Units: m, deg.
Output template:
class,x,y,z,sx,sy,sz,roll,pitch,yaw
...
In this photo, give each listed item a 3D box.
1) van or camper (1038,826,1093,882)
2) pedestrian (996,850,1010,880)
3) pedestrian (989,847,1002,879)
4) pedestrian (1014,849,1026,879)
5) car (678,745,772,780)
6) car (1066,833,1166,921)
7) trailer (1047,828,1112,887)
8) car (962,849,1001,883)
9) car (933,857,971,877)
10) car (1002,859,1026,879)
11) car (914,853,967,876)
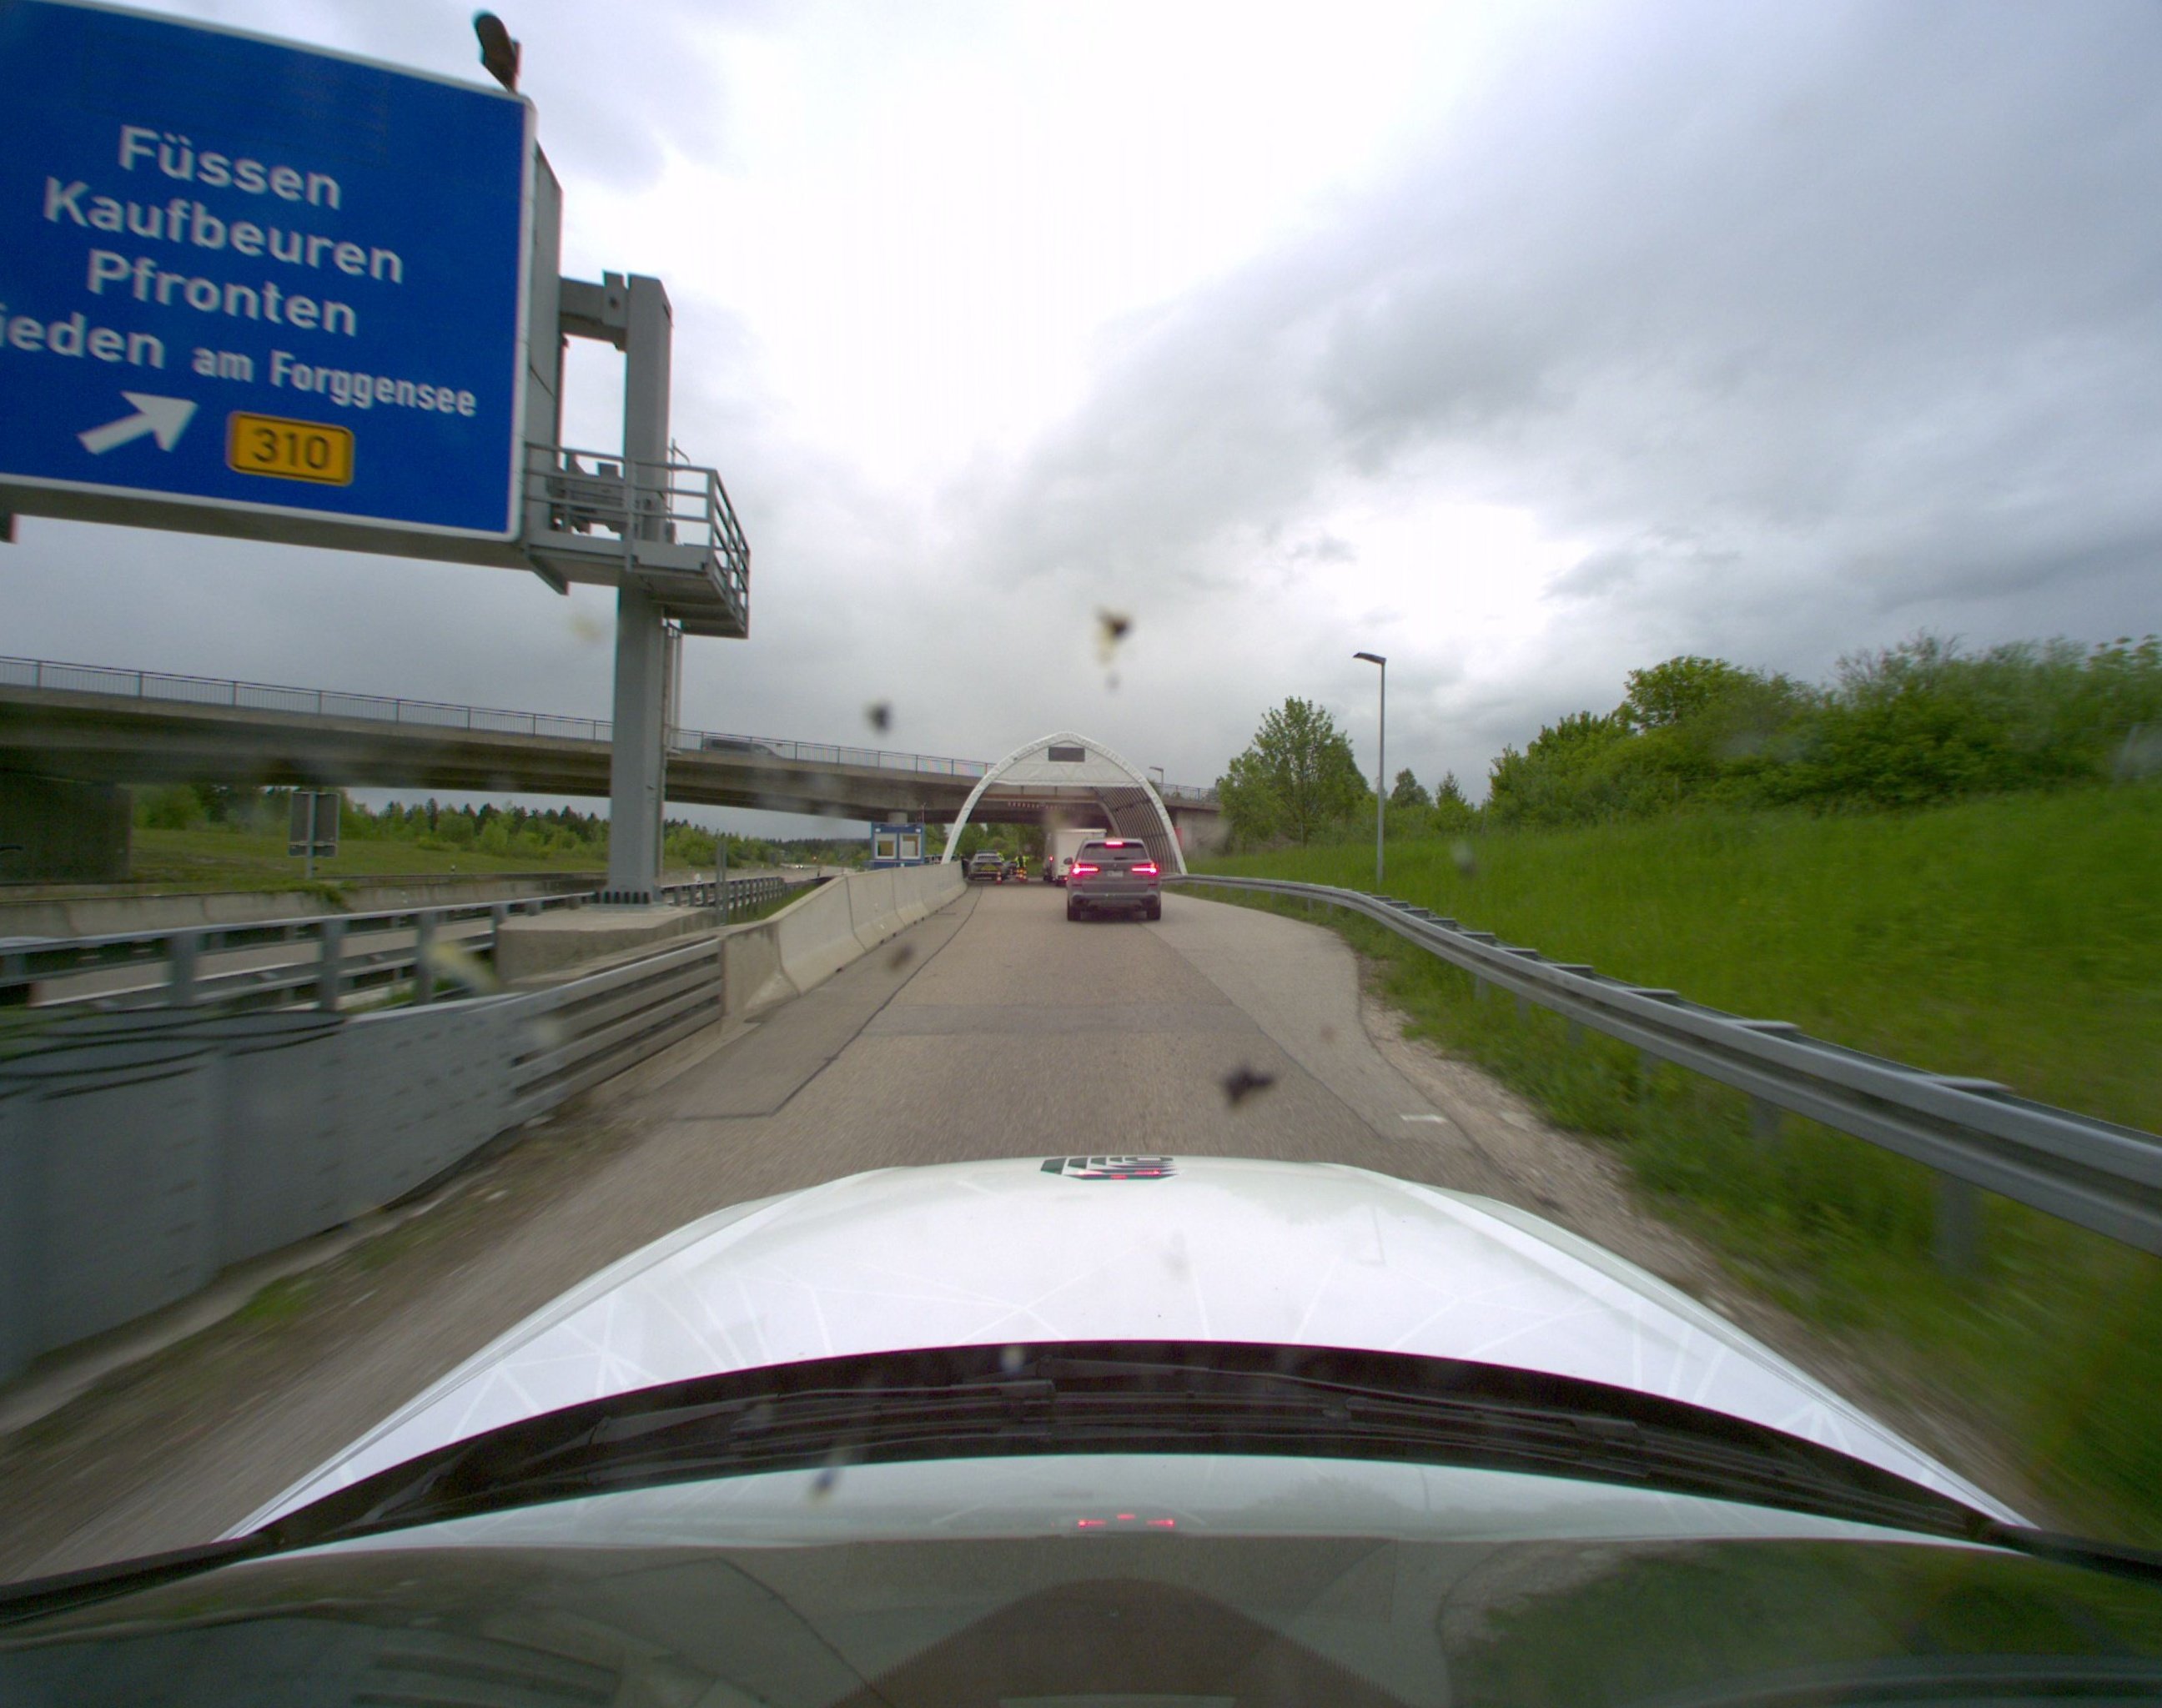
class,x,y,z,sx,sy,sz,roll,pitch,yaw
van or camper,-0.911,0.041,43.311,2.156,2.764,5.852,0,-1,-9
pedestrian,-4.632,0.652,48.384,0.720,1.775,0.688,-1,-1,-9
pedestrian,-5.223,0.553,49.556,0.720,1.945,0.688,-1,-1,-9
pedestrian,-3.728,0.620,49.760,0.648,1.775,0.603,-1,-1,-11
car,-21.748,-5.572,49.847,4.961,1.648,1.978,0,-1,-36
car,0.689,0.485,18.202,1.987,1.719,3.999,0,-1,0
trailer,-0.183,0.199,37.015,2.276,2.431,6.802,0,-1,-6
car,-5.653,0.657,45.931,1.993,1.772,3.753,-1,-1,-9
car,-9.691,0.966,61.013,1.526,1.442,3.280,0,-1,-35
car,-6.452,1.399,78.196,1.706,1.854,3.980,-1,0,-14
car,-11.831,0.894,68.668,3.966,1.854,1.712,-1,-1,6
